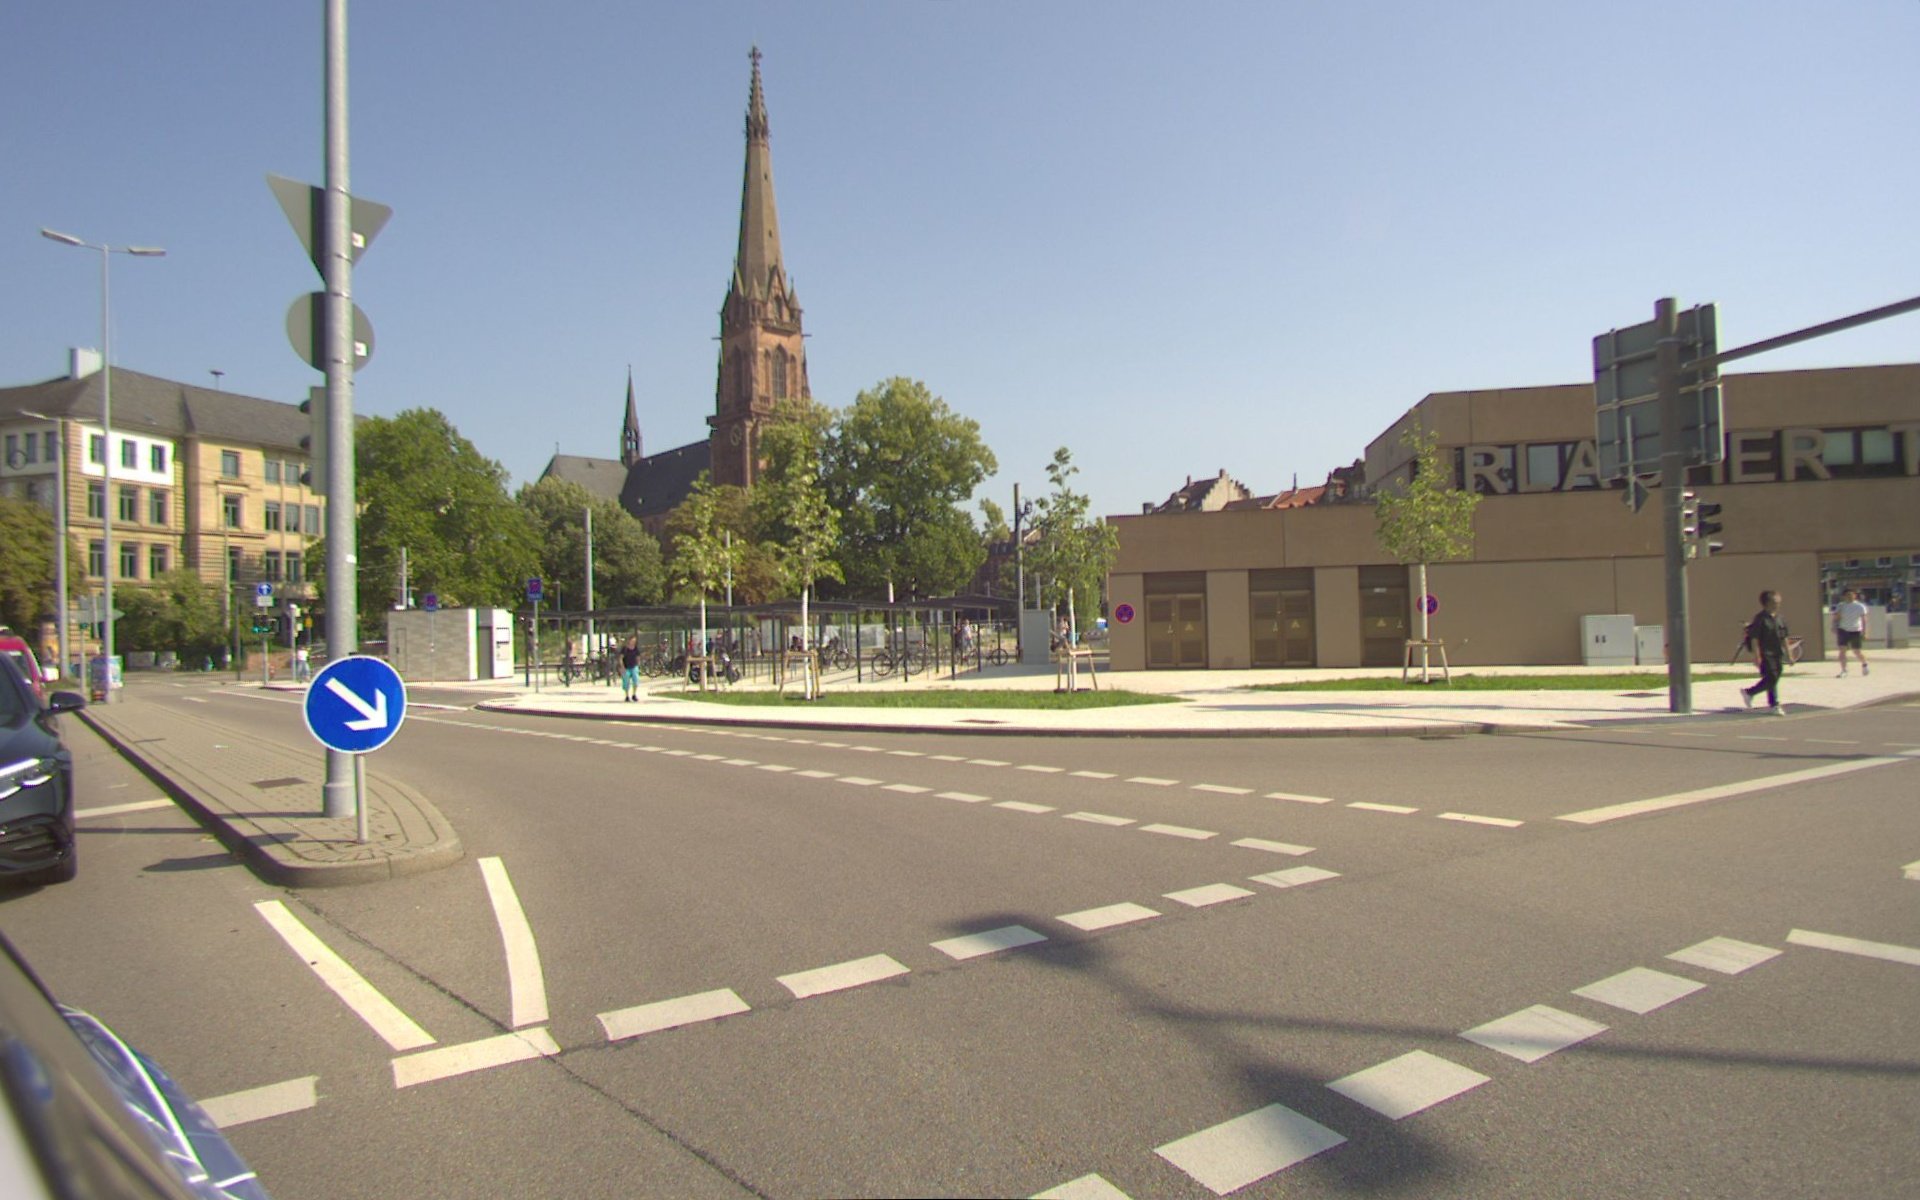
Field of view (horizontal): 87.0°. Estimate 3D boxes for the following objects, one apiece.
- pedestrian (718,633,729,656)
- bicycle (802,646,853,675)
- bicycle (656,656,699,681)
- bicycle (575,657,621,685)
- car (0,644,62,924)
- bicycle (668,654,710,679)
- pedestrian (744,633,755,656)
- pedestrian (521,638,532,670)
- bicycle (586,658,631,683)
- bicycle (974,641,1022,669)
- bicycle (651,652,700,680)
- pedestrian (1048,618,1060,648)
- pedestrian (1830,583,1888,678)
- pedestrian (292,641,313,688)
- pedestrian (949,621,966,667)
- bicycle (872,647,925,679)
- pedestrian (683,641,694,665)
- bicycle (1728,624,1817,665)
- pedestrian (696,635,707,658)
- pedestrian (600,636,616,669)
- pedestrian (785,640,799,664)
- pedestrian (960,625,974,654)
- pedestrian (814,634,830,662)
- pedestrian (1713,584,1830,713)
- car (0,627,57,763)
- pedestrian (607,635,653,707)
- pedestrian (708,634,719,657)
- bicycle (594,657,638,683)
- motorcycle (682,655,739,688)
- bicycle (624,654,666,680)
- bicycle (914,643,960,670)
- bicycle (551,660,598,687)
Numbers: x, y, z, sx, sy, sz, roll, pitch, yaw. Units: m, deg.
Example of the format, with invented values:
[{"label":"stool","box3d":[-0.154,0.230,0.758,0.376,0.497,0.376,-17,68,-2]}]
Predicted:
[{"label":"pedestrian","box3d":[-13.022,2.443,55.745,0.379,1.233,0.438,-3,0,14]},{"label":"bicycle","box3d":[-5.042,2.297,38.481,1.856,1.017,0.460,-2,-2,14]},{"label":"bicycle","box3d":[-10.663,2.581,38.195,1.572,0.899,0.408,-2,-2,14]},{"label":"bicycle","box3d":[-13.048,2.554,36.505,1.572,0.975,0.420,-2,-2,14]},{"label":"car","box3d":[-7.132,1.046,6.666,1.798,1.451,4.880,0,-2,-41]},{"label":"bicycle","box3d":[-10.607,2.606,39.621,1.572,0.899,0.408,-2,-2,14]},{"label":"pedestrian","box3d":[-11.620,2.438,55.807,0.379,1.233,0.438,-3,0,14]},{"label":"pedestrian","box3d":[-23.911,2.978,55.856,0.510,1.720,0.505,-1,-2,-19]},{"label":"bicycle","box3d":[-12.918,2.593,37.190,1.572,0.899,0.399,-2,-2,14]},{"label":"bicycle","box3d":[1.434,2.076,38.241,1.726,1.028,0.472,-2,-2,12]},{"label":"bicycle","box3d":[-10.487,2.441,37.308,1.696,0.994,0.531,-2,-2,14]},{"label":"pedestrian","box3d":[4.682,1.646,50.310,0.465,1.432,0.566,-3,0,14]},{"label":"pedestrian","box3d":[17.967,0.609,20.229,0.561,1.847,0.696,0,-2,-36]},{"label":"pedestrian","box3d":[-28.857,2.832,44.419,0.722,2.029,0.715,0,-3,-38]},{"label":"pedestrian","box3d":[-0.097,1.789,41.219,0.586,1.815,0.333,-2,-2,8]},{"label":"bicycle","box3d":[-2.059,2.120,34.107,1.728,1.017,0.399,-2,-2,14]},{"label":"pedestrian","box3d":[-14.936,2.915,55.684,0.411,1.328,0.391,-3,0,18]},{"label":"bicycle","box3d":[20.378,1.111,25.407,1.595,0.963,0.659,-2,0,11]},{"label":"pedestrian","box3d":[-14.281,2.580,55.839,0.379,1.233,0.438,-3,0,14]},{"label":"pedestrian","box3d":[-19.277,2.882,55.362,0.389,1.762,0.706,-4,-3,45]},{"label":"pedestrian","box3d":[-8.842,2.743,53.362,0.568,1.206,0.466,-2,-2,14]},{"label":"pedestrian","box3d":[0.369,2.004,51.825,0.563,1.432,0.467,-3,0,14]},{"label":"pedestrian","box3d":[-7.226,2.515,52.893,0.637,1.405,0.660,-2,-2,10]},{"label":"pedestrian","box3d":[12.147,0.716,15.182,0.717,1.854,1.086,-1,-2,-24]},{"label":"car","box3d":[-14.767,1.412,15.185,1.710,1.833,4.284,0,-3,-40]},{"label":"pedestrian","box3d":[-7.469,1.597,22.928,0.664,1.577,0.746,-3,-4,29]},{"label":"pedestrian","box3d":[-13.665,2.543,56.162,0.379,1.233,0.438,-3,0,14]},{"label":"bicycle","box3d":[-12.834,2.617,37.728,1.572,0.899,0.408,-2,-2,14]},{"label":"motorcycle","box3d":[-8.122,2.333,32.909,1.728,1.017,0.541,-2,-2,14]},{"label":"bicycle","box3d":[-12.470,2.642,40.047,1.572,0.985,0.450,-2,-1,14]},{"label":"bicycle","box3d":[-0.898,2.180,39.097,1.728,1.017,0.399,-2,-2,14]},{"label":"bicycle","box3d":[-13.432,2.570,35.298,1.572,0.899,0.399,-2,-2,14]}]
